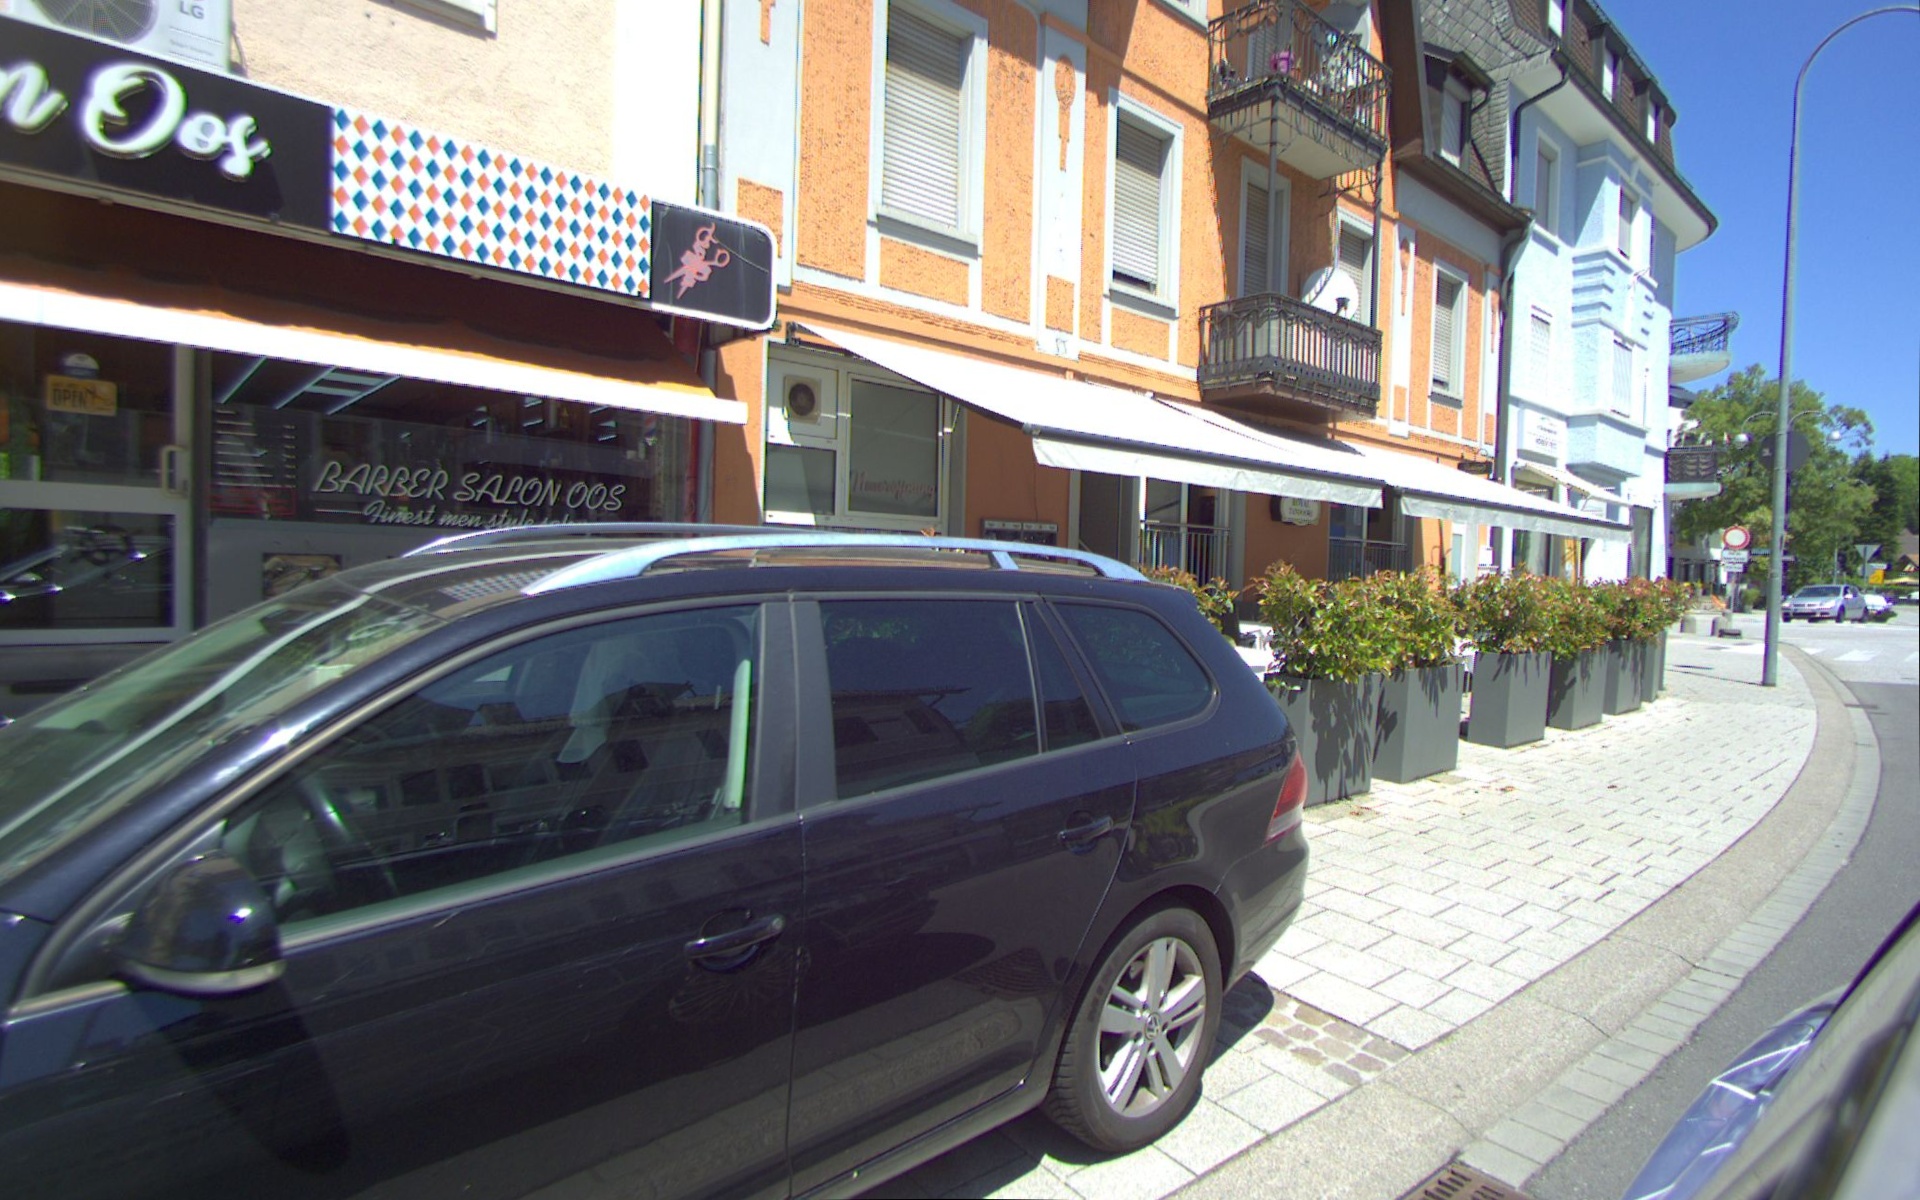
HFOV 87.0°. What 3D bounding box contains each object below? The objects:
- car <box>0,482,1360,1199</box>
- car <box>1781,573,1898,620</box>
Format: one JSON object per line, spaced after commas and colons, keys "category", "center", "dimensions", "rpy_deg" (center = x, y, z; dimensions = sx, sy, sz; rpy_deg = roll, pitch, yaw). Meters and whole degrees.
{"category": "car", "center": [-1.035, 0.546, 2.250], "dimensions": [4.248, 1.490, 1.734], "rpy_deg": [-1, 5, -41]}
{"category": "car", "center": [32.345, -0.162, 37.214], "dimensions": [4.107, 1.616, 2.002], "rpy_deg": [0, 2, -30]}
